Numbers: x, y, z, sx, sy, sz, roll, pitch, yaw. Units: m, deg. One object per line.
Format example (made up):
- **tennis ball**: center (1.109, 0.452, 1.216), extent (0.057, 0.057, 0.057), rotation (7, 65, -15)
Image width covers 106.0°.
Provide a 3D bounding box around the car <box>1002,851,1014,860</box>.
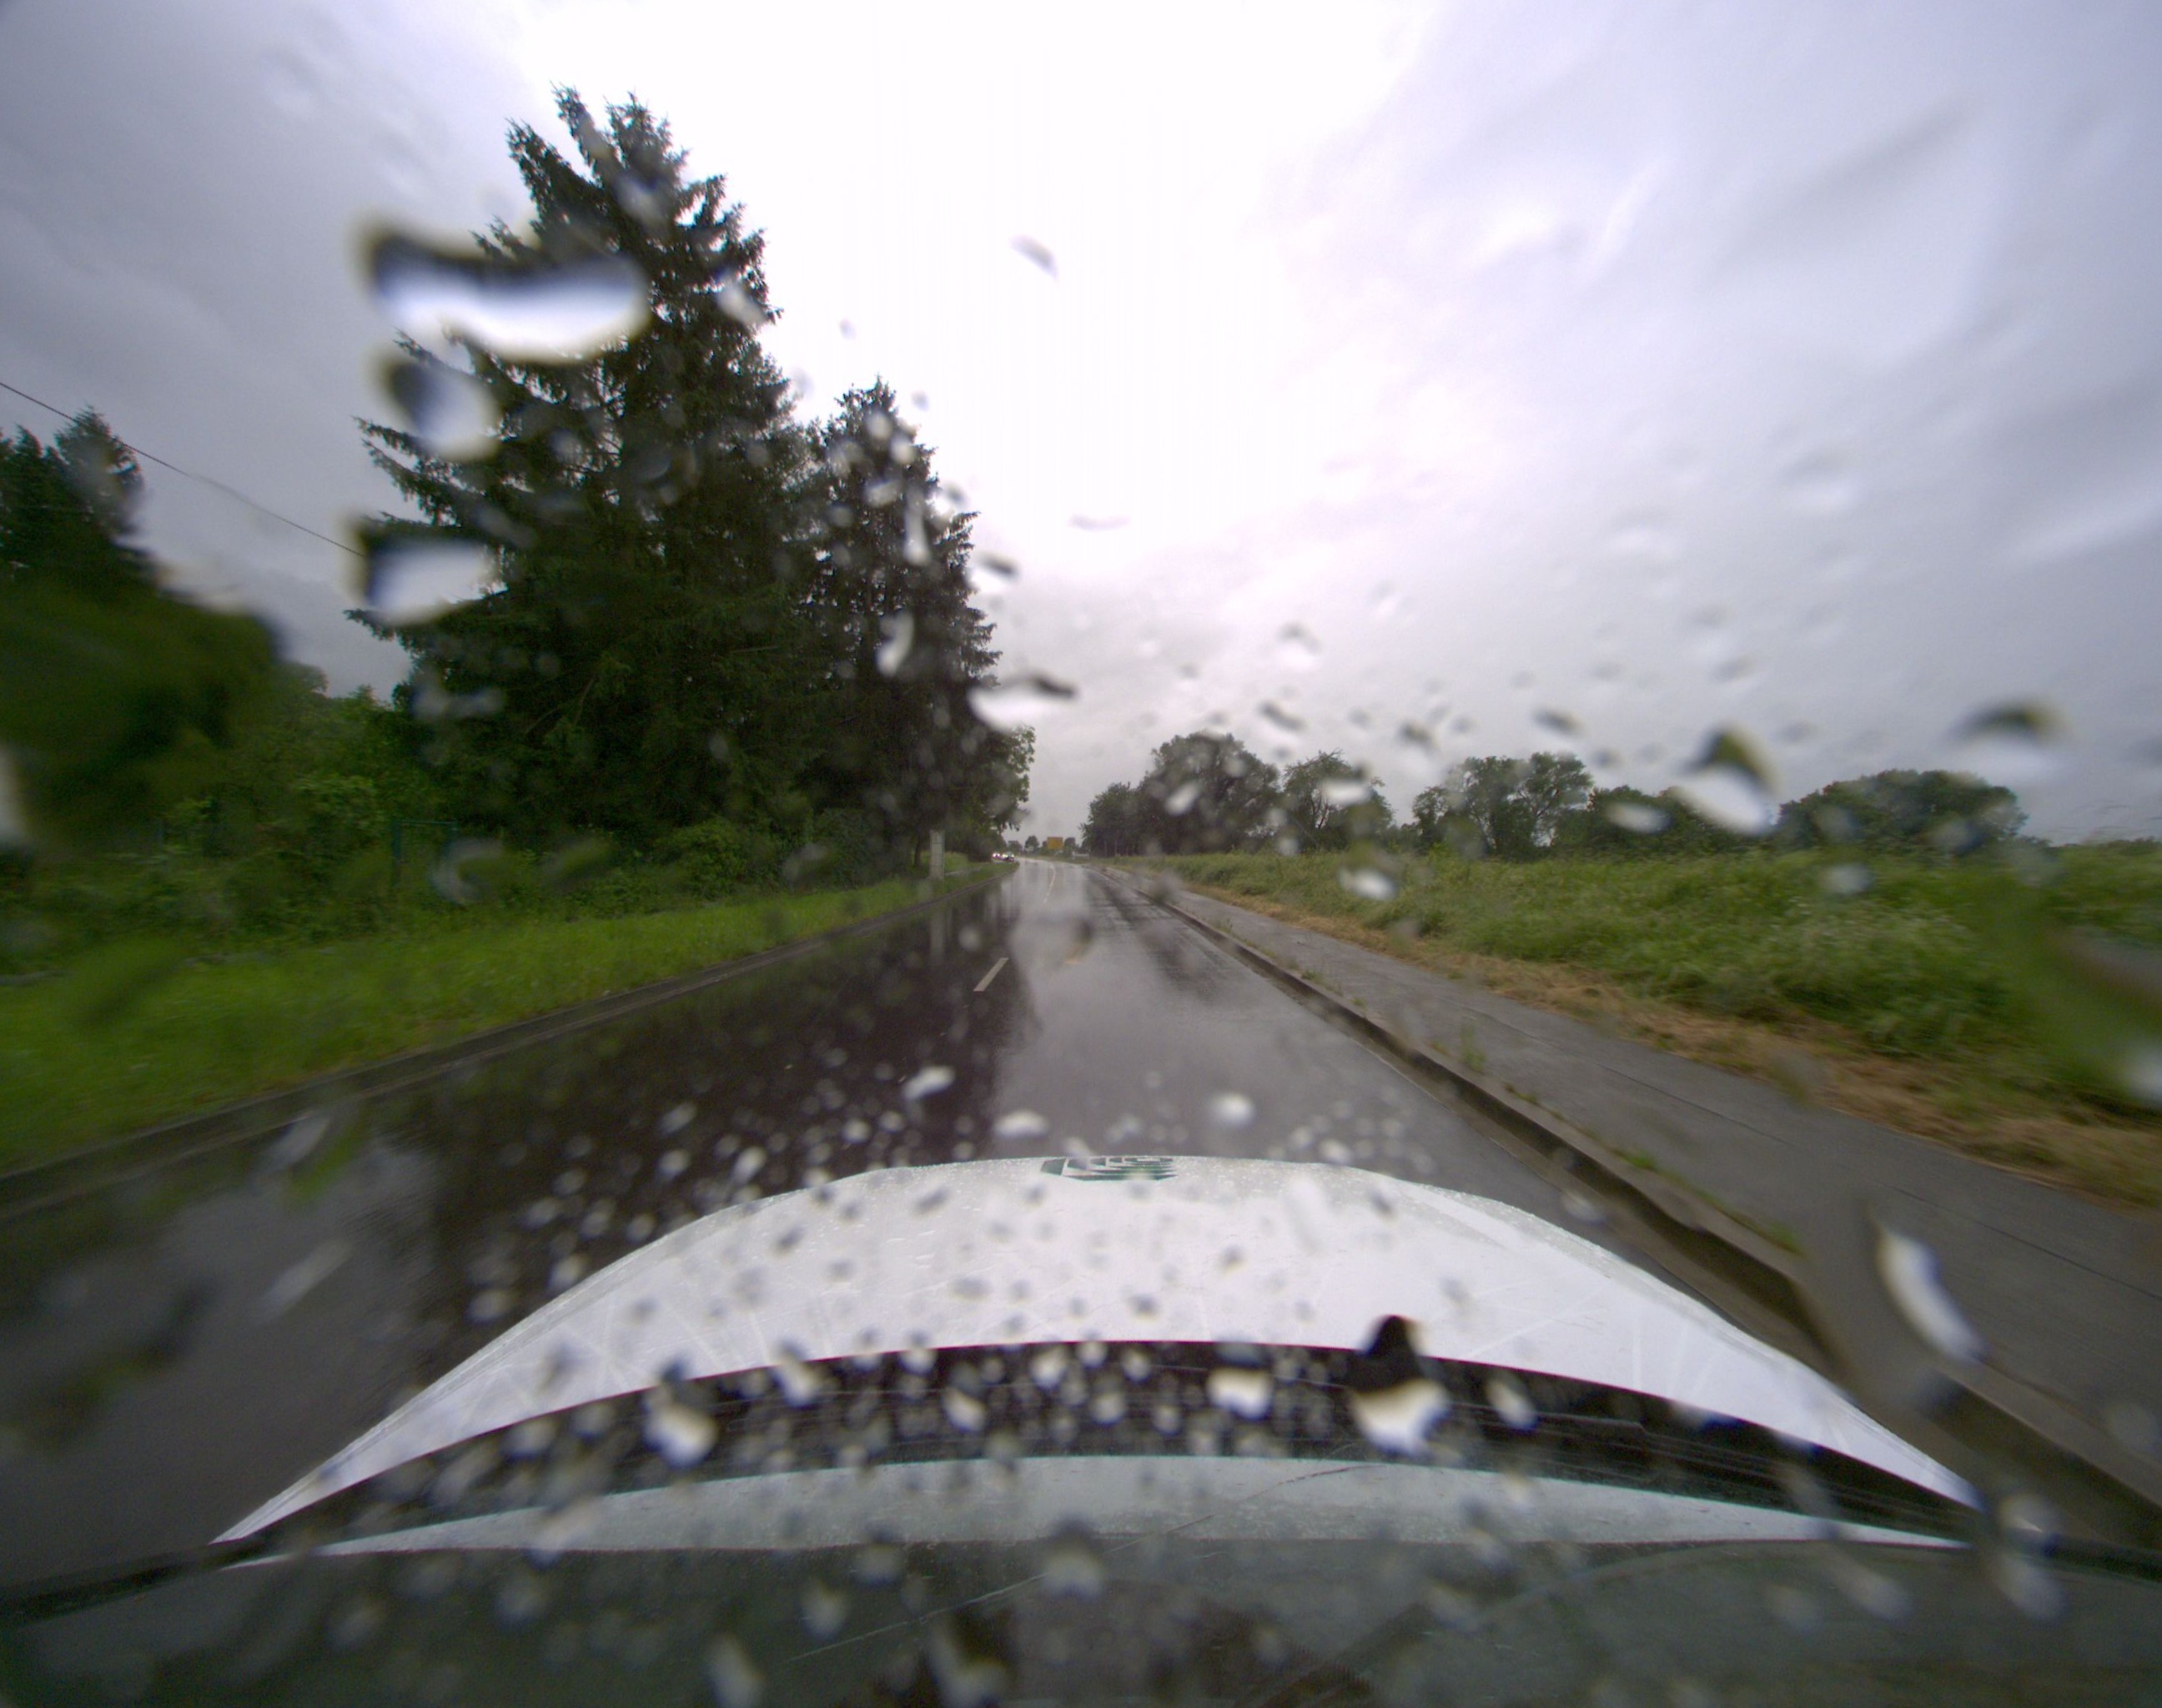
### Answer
- **car**: center (-15.563, 0.401, 172.851), extent (1.764, 1.551, 3.981), rotation (0, 5, -16)
